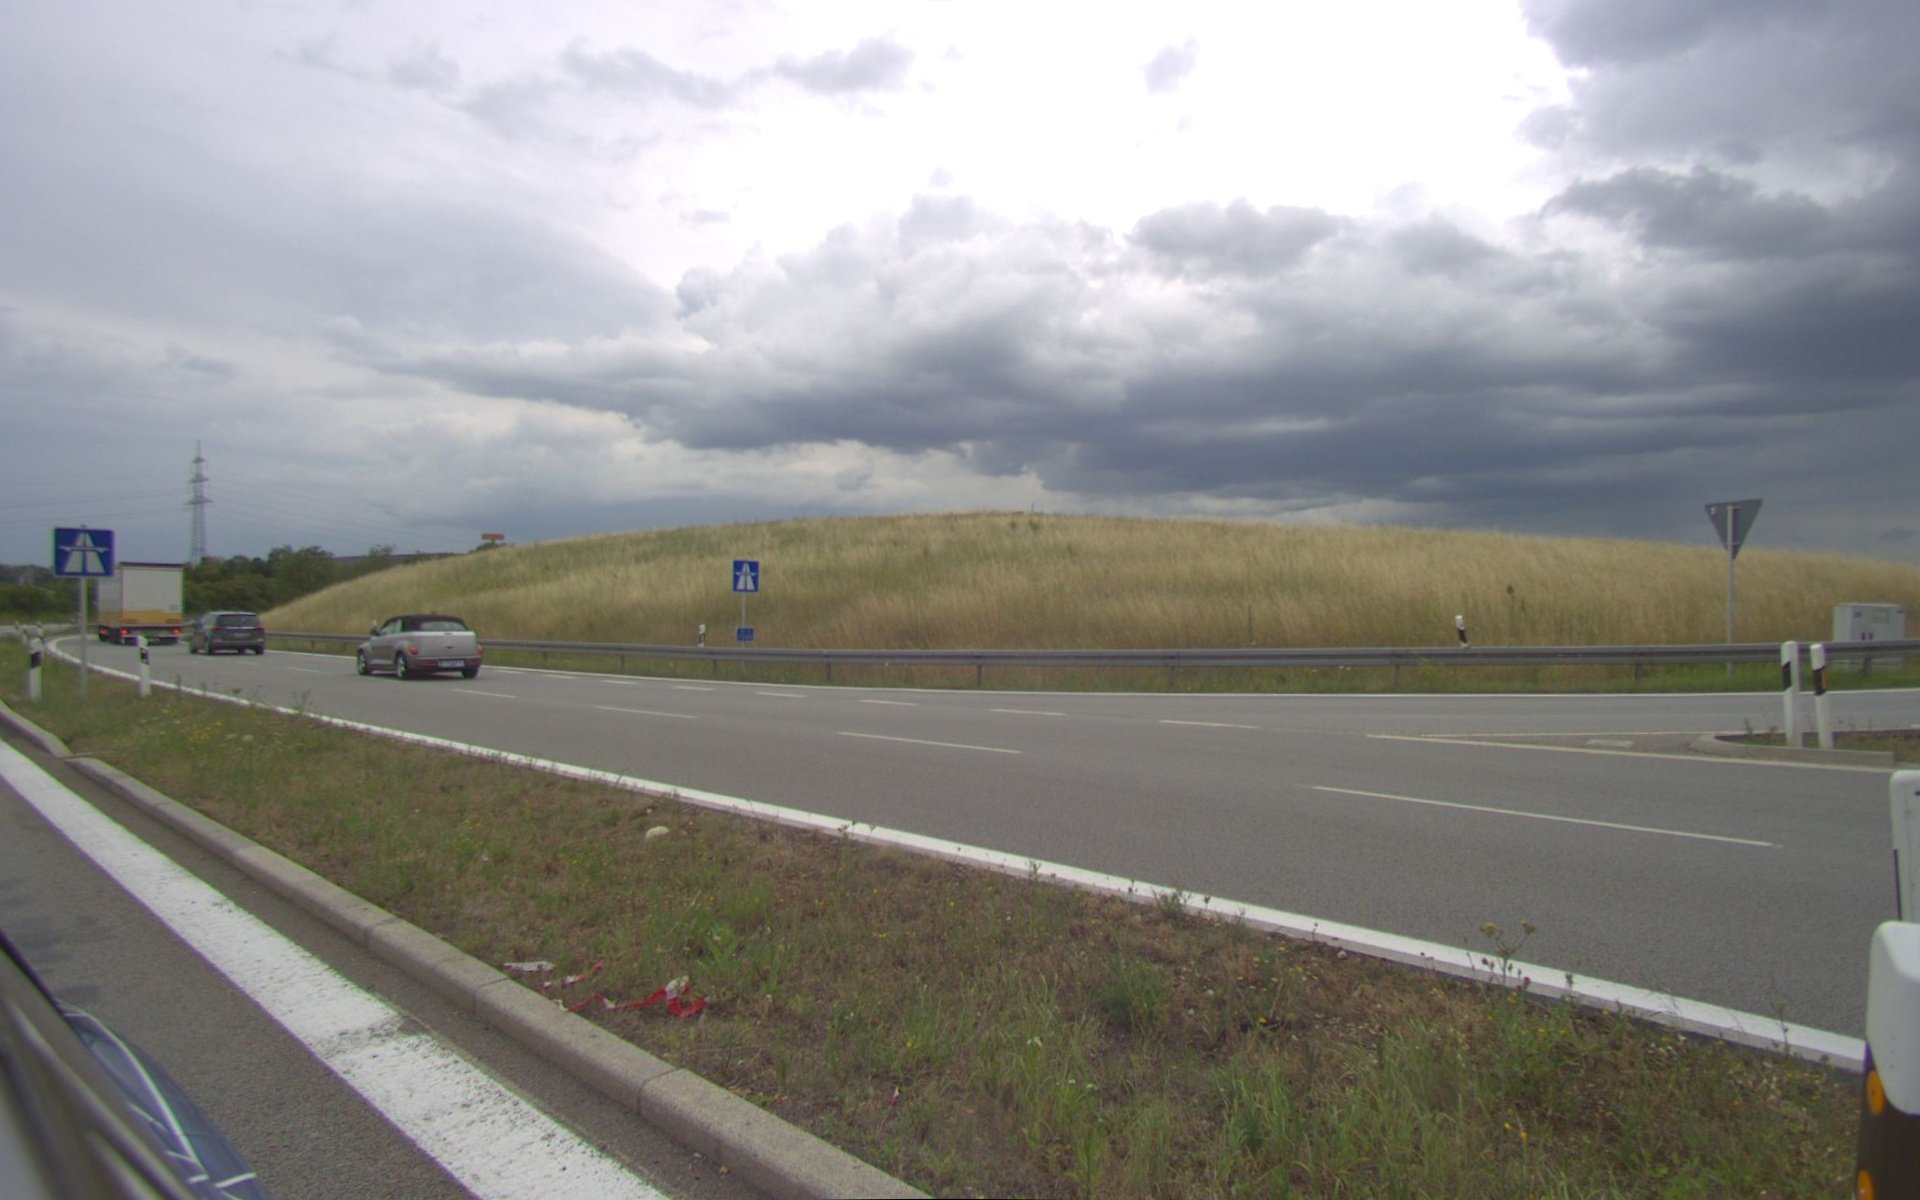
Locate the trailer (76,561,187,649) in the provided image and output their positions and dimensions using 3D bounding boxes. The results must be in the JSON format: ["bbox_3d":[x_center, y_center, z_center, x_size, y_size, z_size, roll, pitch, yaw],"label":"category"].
[{"bbox_3d":[-44.856,0.253,54.517,13.839,4.242,2.663,0,0,42],"label":"trailer"}]

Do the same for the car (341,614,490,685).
[{"bbox_3d":[-13.235,1.159,24.507,4.240,1.532,1.792,-2,-1,41],"label":"car"}]

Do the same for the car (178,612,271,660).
[{"bbox_3d":[-28.524,1.336,39.197,4.453,1.707,1.973,0,0,41],"label":"car"}]

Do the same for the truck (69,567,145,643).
[{"bbox_3d":[-49.975,0.270,59.223,6.403,4.172,2.621,0,0,42],"label":"truck"}]
